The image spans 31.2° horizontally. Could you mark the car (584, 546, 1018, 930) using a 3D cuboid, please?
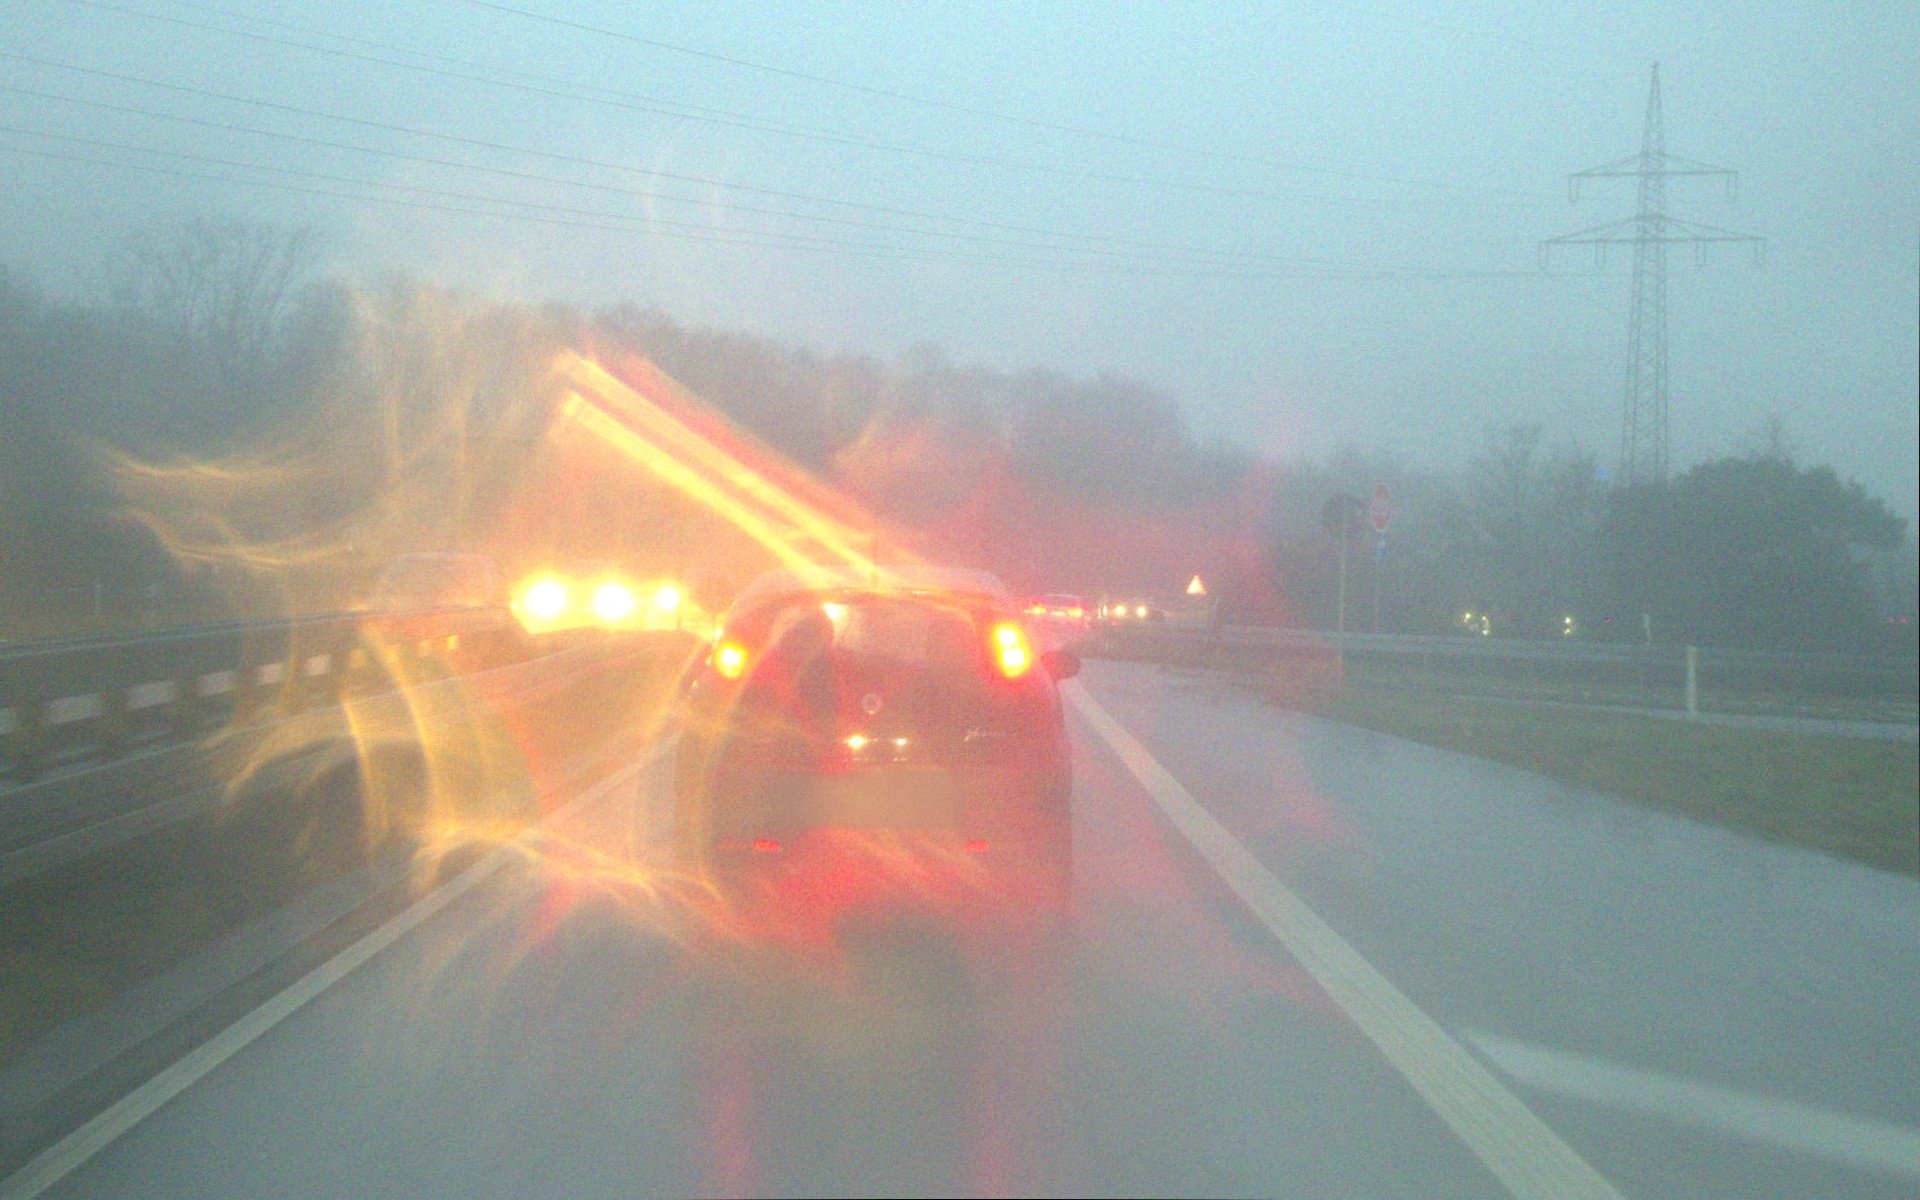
[{"bbox_3d":[-0.614,0.546,15.772,1.730,1.527,4.042,0,0,1],"label":"car"}]

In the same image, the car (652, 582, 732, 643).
[{"bbox_3d":[-6.720,0.304,86.428,1.646,1.496,4.000,0,0,1],"label":"car"}]

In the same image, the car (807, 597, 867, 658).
[{"bbox_3d":[-4.410,0.982,124.160,1.872,2.130,5.180,0,0,1],"label":"car"}]

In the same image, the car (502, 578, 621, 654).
[{"bbox_3d":[-8.031,0.312,69.647,1.993,1.467,4.473,0,0,-2],"label":"car"}]

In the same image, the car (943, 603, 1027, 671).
[{"bbox_3d":[0.726,1.045,95.293,1.946,1.739,3.999,3,-1,5],"label":"car"}]

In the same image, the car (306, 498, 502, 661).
[{"bbox_3d":[-7.289,-0.223,45.530,1.993,2.007,4.999,1,-1,-3],"label":"car"}]
